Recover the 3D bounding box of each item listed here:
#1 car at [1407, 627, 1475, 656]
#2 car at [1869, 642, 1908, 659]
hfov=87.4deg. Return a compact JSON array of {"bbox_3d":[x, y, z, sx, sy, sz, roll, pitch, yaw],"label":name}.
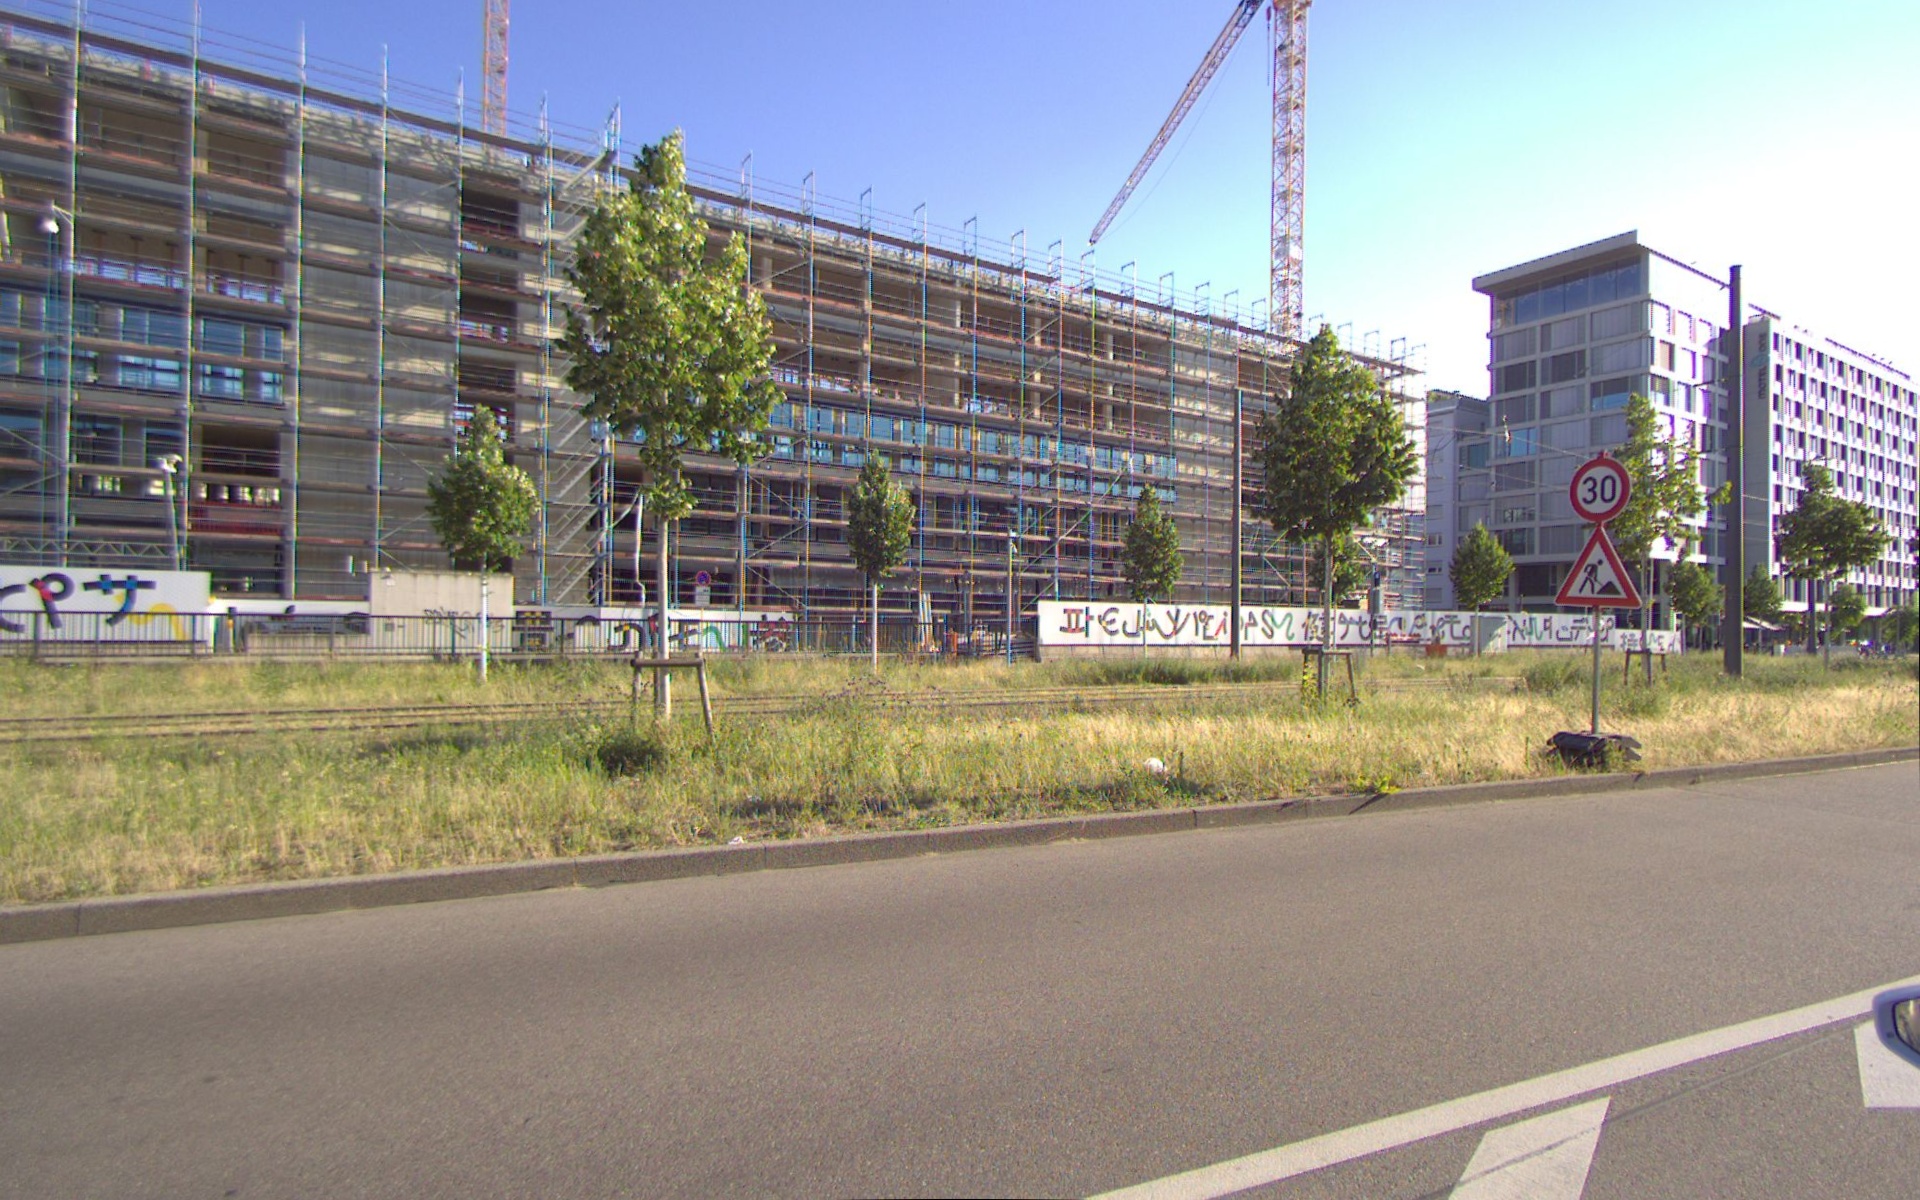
[{"bbox_3d":[26.083,2.257,54.429,3.543,1.461,1.699,2,0,-32],"label":"car"},{"bbox_3d":[84.029,4.570,90.891,3.543,1.461,1.699,2,0,-32],"label":"car"}]
